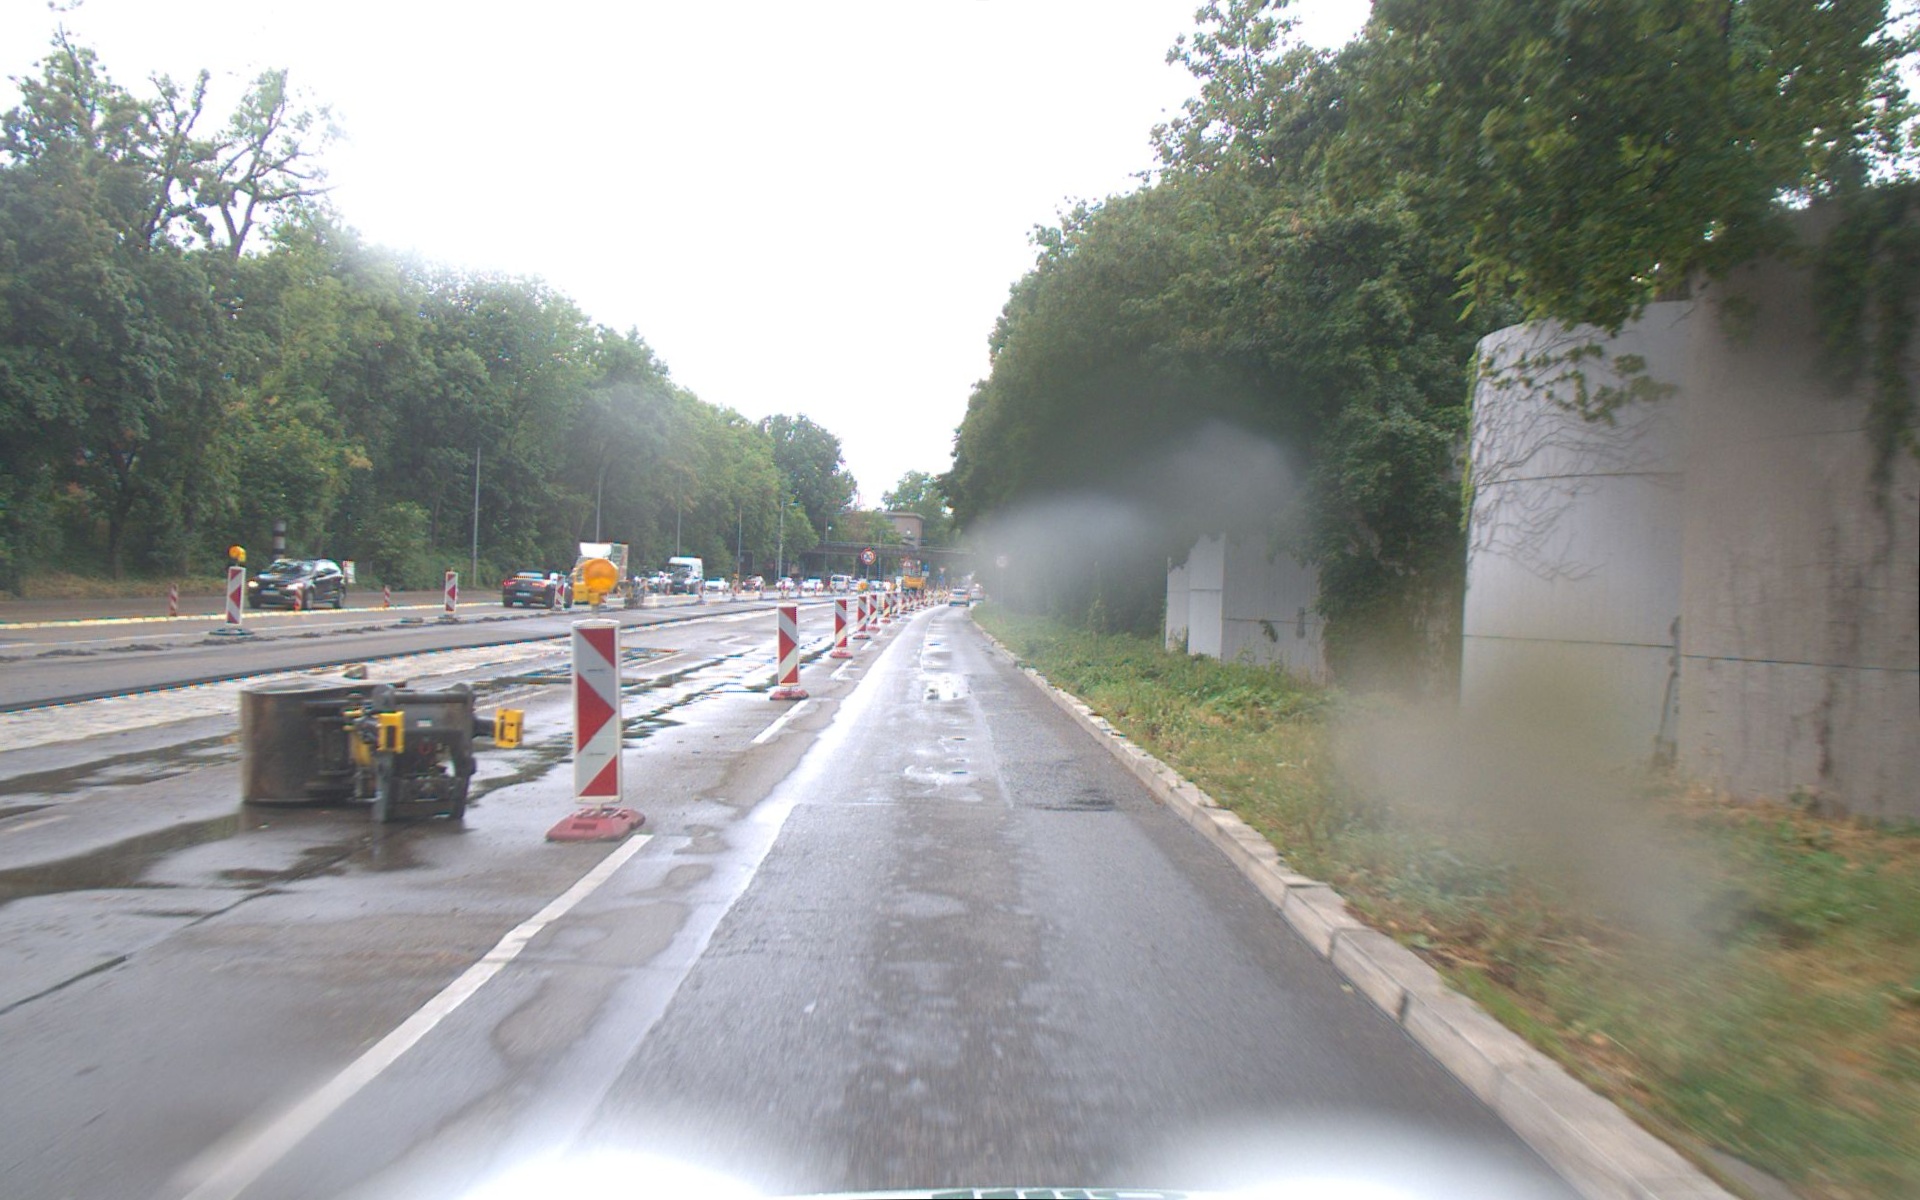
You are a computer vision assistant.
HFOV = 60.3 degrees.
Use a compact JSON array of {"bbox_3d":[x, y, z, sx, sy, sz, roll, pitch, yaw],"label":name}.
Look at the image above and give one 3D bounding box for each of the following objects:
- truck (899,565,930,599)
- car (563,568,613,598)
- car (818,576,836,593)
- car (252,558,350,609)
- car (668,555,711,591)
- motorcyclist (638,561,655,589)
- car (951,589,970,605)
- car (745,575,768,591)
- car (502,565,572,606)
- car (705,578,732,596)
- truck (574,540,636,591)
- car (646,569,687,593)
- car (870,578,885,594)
[{"bbox_3d":[-5.129,-2.058,188.600,3.193,3.558,13.869,2,1,-1],"label":"truck"},{"bbox_3d":[-18.915,-0.879,84.287,1.636,1.440,4.319,2,1,-2],"label":"car"},{"bbox_3d":[-15.038,-1.717,187.276,1.635,1.840,4.320,2,1,0],"label":"car"},{"bbox_3d":[-18.863,-0.467,47.474,1.419,1.355,3.859,2,0,-3],"label":"car"},{"bbox_3d":[-20.910,-2.059,128.181,2.056,2.624,6.854,2,1,0],"label":"car"},{"bbox_3d":[-18.569,-1.497,97.941,0.811,1.592,0.926,3,0,-1],"label":"motorcyclist"},{"bbox_3d":[0.014,-0.239,145.259,1.663,1.359,3.491,0,0,0],"label":"car"},{"bbox_3d":[-20.231,-1.659,164.531,1.635,1.511,4.320,2,1,0],"label":"car"},{"bbox_3d":[-15.733,-0.542,61.705,1.575,1.429,4.040,2,1,-1],"label":"car"},{"bbox_3d":[-20.796,-1.127,142.616,1.635,1.511,4.320,2,1,0],"label":"car"},{"bbox_3d":[-21.822,-2.099,101.918,2.200,2.991,6.935,2,1,0],"label":"truck"},{"bbox_3d":[-19.933,-1.302,112.450,1.919,1.557,4.437,2,1,0],"label":"car"},{"bbox_3d":[-10.544,-1.818,210.870,1.635,1.840,4.321,2,2,0],"label":"car"}]
